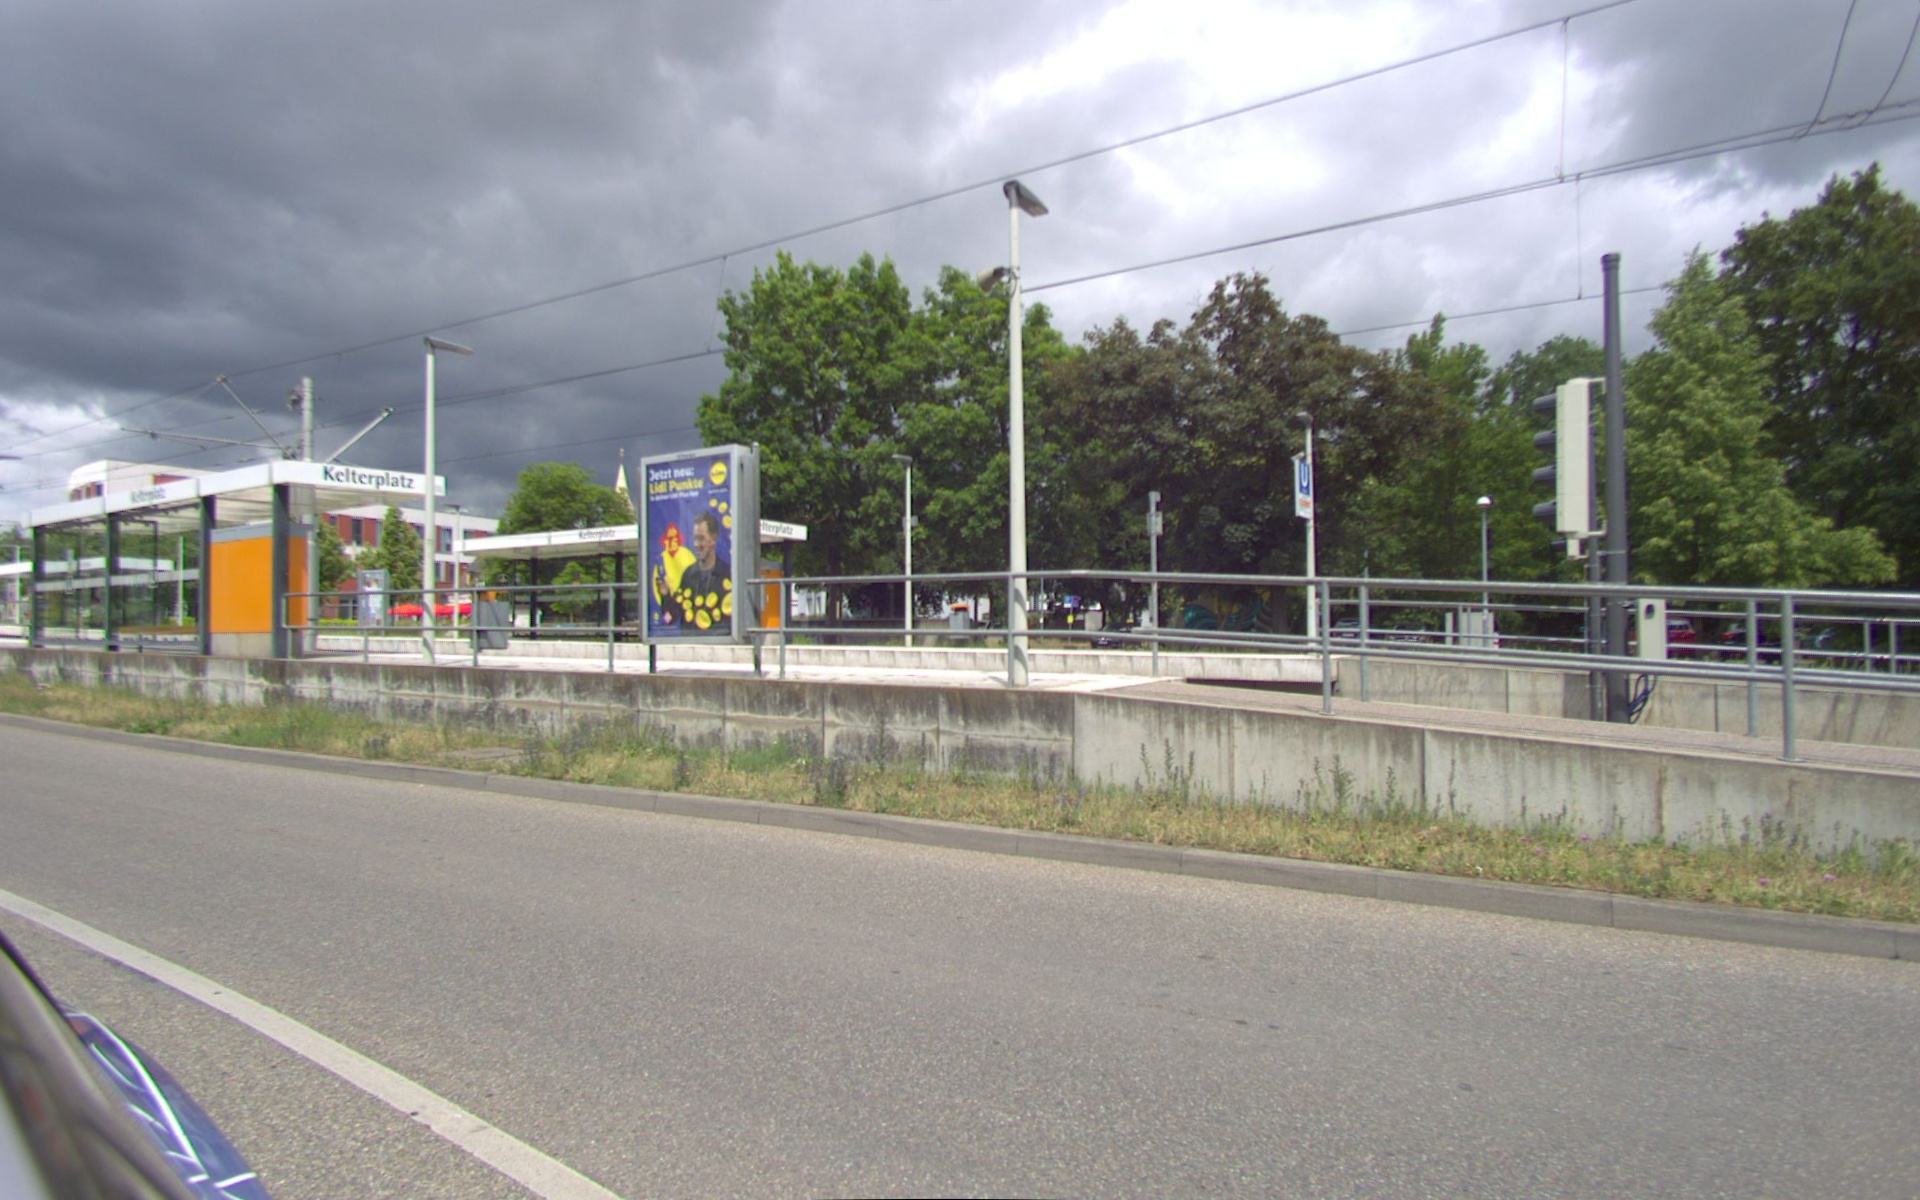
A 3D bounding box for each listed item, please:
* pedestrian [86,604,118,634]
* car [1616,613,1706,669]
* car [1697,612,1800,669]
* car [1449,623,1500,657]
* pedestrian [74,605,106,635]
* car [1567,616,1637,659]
[{"bbox_3d":[-37.272,0.837,43.954,1.109,1.302,0.751,-1,-2,33],"label":"pedestrian"},{"bbox_3d":[22.839,1.330,33.096,2.045,1.719,3.610,-2,-2,30],"label":"car"},{"bbox_3d":[24.902,1.266,32.090,1.967,1.697,3.959,-2,-2,30],"label":"car"},{"bbox_3d":[23.717,1.832,46.721,1.959,1.503,3.798,-2,-2,27],"label":"car"},{"bbox_3d":[-38.308,0.878,44.574,1.109,1.302,0.751,-1,-2,33],"label":"pedestrian"},{"bbox_3d":[27.382,1.590,43.099,2.186,1.741,3.950,-3,-3,37],"label":"car"}]
